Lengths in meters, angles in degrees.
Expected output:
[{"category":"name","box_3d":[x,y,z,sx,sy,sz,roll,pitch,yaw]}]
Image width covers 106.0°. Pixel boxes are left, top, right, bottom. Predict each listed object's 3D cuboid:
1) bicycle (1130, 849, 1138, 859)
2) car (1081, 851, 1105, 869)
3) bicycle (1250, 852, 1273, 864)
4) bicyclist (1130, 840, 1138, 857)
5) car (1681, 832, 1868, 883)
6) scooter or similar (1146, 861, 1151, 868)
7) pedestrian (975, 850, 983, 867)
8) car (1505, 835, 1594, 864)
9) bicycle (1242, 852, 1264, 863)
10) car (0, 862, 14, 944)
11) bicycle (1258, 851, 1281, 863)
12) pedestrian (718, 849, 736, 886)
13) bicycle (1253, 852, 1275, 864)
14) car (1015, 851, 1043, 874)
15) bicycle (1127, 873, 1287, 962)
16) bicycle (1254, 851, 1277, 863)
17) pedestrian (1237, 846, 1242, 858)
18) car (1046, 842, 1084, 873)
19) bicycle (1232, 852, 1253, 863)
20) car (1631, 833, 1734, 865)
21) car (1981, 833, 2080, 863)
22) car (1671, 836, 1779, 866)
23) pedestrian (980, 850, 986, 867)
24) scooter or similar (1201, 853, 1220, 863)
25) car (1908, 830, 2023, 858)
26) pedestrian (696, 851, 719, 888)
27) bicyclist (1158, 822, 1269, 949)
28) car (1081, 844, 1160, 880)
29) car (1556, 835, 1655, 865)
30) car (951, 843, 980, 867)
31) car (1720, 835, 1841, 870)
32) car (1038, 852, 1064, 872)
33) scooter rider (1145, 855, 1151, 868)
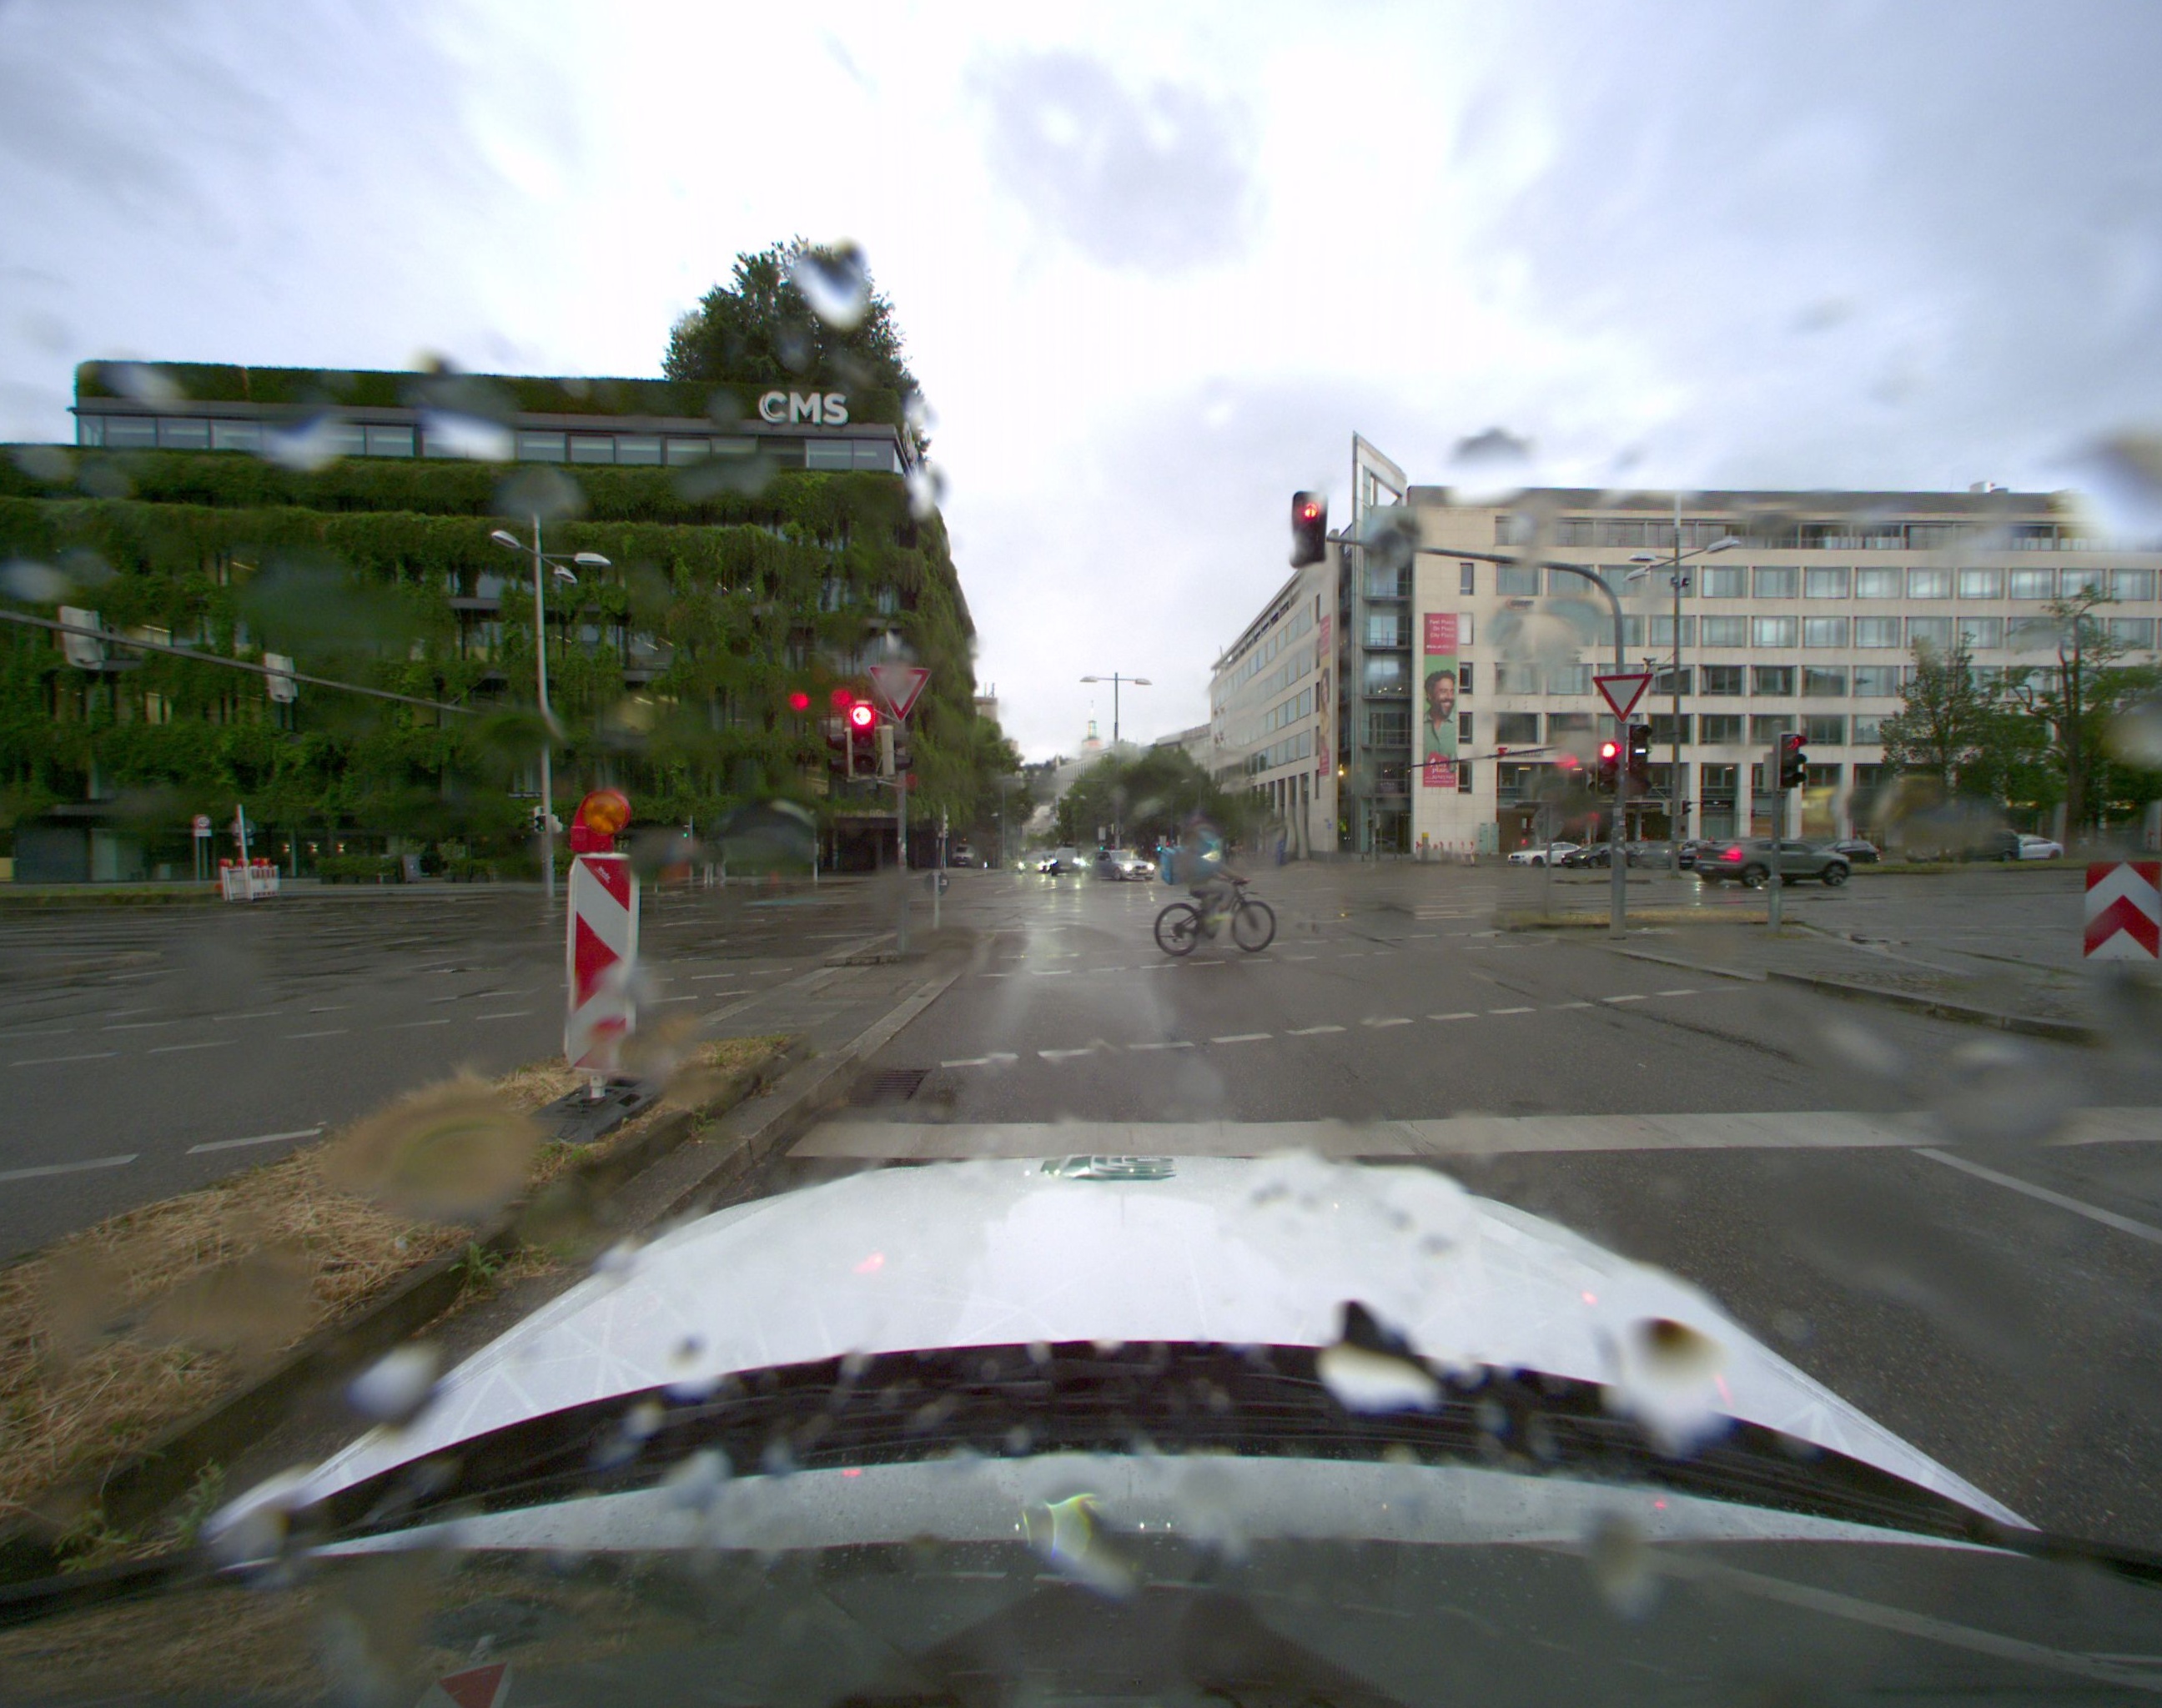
[{"category":"bicycle","box_3d":[6.030,-0.018,92.558,0.789,1.117,2.255,-1,0,0]},{"category":"car","box_3d":[1.008,0.483,70.593,1.988,1.443,4.554,-1,0,-1]},{"category":"bicycle","box_3d":[14.179,0.284,64.058,1.778,0.934,0.478,-1,0,43]},{"category":"bicyclist","box_3d":[6.005,-0.598,92.644,0.789,1.975,1.113,-1,0,-2]},{"category":"car","box_3d":[22.787,0.113,26.889,4.526,1.550,2.000,-1,0,0]},{"category":"scooter or similar","box_3d":[9.440,1.460,113.768,0.553,1.007,1.829,-1,0,10]},{"category":"pedestrian","box_3d":[-9.217,0.442,73.669,0.605,1.524,0.587,-1,0,-3]},{"category":"car","box_3d":[28.016,-0.268,48.733,4.456,1.598,1.991,-1,0,-14]},{"category":"bicycle","box_3d":[14.960,0.312,70.726,1.786,0.934,0.476,-1,0,4]},{"category":"car","box_3d":[-27.140,1.189,18.229,3.451,1.922,1.992,-1,0,-11]},{"category":"bicycle","box_3d":[14.969,0.269,64.682,1.778,0.934,0.478,-1,0,43]},{"category":"pedestrian","box_3d":[-17.038,0.645,39.223,0.744,1.758,0.969,-1,0,-22]},{"category":"bicycle","box_3d":[14.899,0.312,66.396,1.778,0.934,0.478,-1,0,43]},{"category":"car","box_3d":[-3.596,0.540,56.742,1.852,1.448,4.615,-1,1,-4]},{"category":"bicycle","box_3d":[1.807,0.862,11.599,2.157,1.103,0.841,-1,0,-27]},{"category":"bicycle","box_3d":[14.838,0.274,65.652,1.778,0.934,0.478,-1,0,43]},{"category":"pedestrian","box_3d":[16.355,-0.223,83.819,0.353,1.173,0.413,-1,0,-16]},{"category":"car","box_3d":[-0.875,0.185,48.109,1.956,1.655,4.367,-1,1,2]},{"category":"bicycle","box_3d":[14.392,0.324,72.589,1.786,0.934,0.476,-1,0,4]},{"category":"car","box_3d":[31.671,-0.283,42.923,4.455,1.598,1.991,-1,0,-13]},{"category":"car","box_3d":[54.042,-0.370,46.375,4.180,1.623,1.727,-1,1,-8]},{"category":"car","box_3d":[31.194,-0.148,39.476,4.455,1.348,1.715,-1,0,-13]},{"category":"pedestrian","box_3d":[-8.885,0.437,73.676,0.435,1.524,0.547,-1,0,-3]},{"category":"scooter or similar","box_3d":[12.662,0.381,79.716,1.750,0.878,0.486,-1,0,-18]},{"category":"car","box_3d":[45.590,-0.530,41.992,4.637,1.348,1.919,-1,0,-12]},{"category":"pedestrian","box_3d":[-17.843,0.732,38.913,0.939,1.758,1.163,-1,0,-22]},{"category":"bicyclist","box_3d":[1.878,0.417,11.606,1.301,1.704,0.841,-1,0,-26]},{"category":"car","box_3d":[1.769,0.313,37.878,2.001,1.486,4.432,-2,2,-21]},{"category":"car","box_3d":[29.204,-0.231,45.399,4.451,1.598,1.993,-1,0,-10]},{"category":"car","box_3d":[-9.713,0.090,68.726,1.989,1.895,4.461,-1,0,-2]},{"category":"car","box_3d":[31.163,-0.091,36.321,4.452,1.464,1.716,-1,0,-11]},{"category":"car","box_3d":[-2.386,0.584,64.559,1.853,1.448,4.614,-1,1,-4]},{"category":"scooter rider","box_3d":[9.406,1.010,113.813,0.758,1.774,0.798,-1,0,9]}]
